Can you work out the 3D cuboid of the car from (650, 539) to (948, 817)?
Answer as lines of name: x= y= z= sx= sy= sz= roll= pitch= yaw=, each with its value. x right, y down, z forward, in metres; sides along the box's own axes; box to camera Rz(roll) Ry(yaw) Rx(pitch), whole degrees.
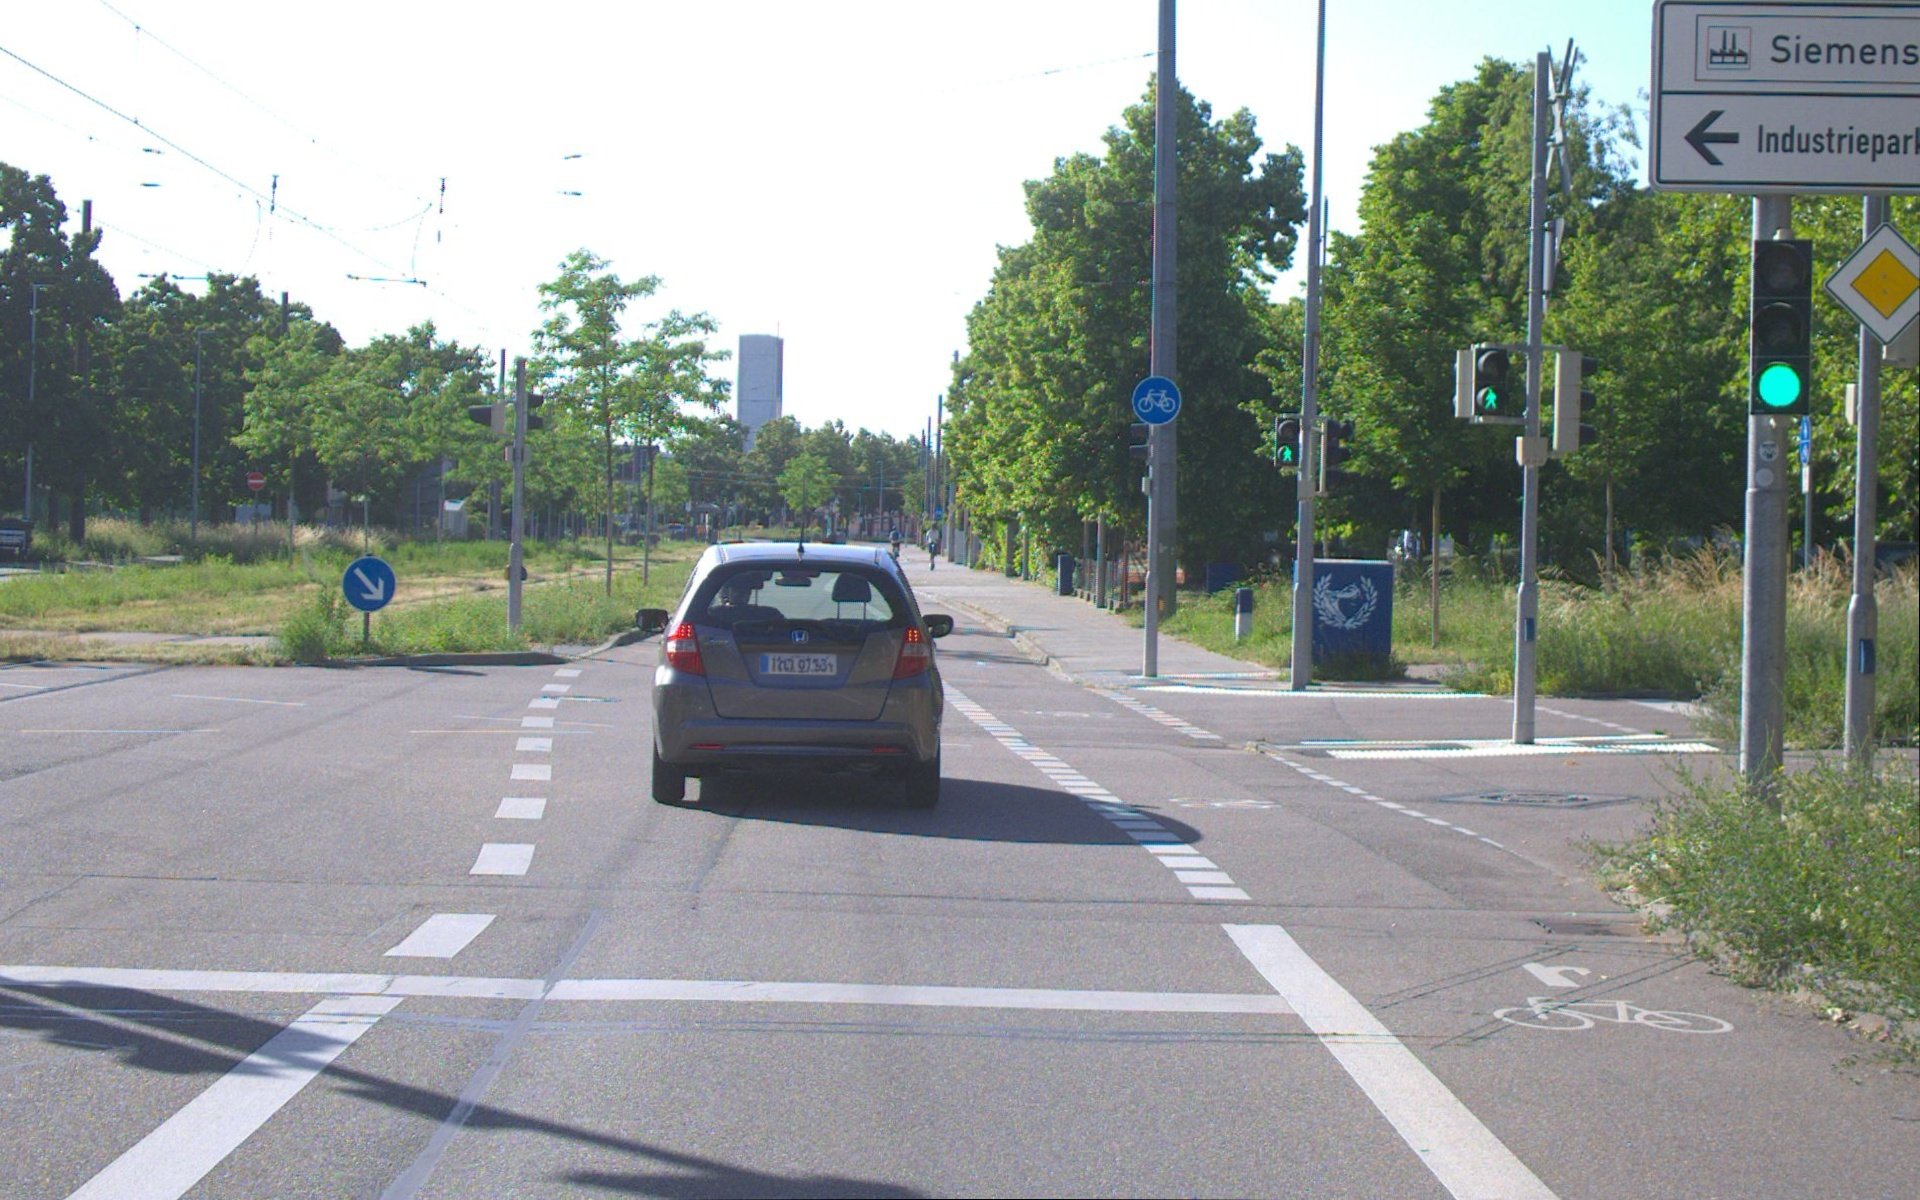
car: x=-0.931 y=0.406 z=20.916 sx=1.624 sy=1.494 sz=3.457 roll=1 pitch=1 yaw=-1

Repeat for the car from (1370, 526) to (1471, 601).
car: x=12.802 y=-1.045 z=95.860 sx=1.872 sy=1.960 sz=5.168 roll=2 pitch=1 yaw=-2

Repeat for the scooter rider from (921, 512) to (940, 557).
scooter rider: x=-1.257 y=-2.823 z=147.548 sx=0.716 sy=1.894 sz=0.935 roll=1 pitch=1 yaw=-4

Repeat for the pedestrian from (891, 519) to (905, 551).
pedestrian: x=-3.470 y=-3.652 z=193.517 sx=0.722 sy=1.794 sz=1.165 roll=1 pitch=1 yaw=-3

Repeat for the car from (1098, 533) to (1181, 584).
car: x=4.978 y=-1.171 z=95.936 sx=1.773 sy=1.382 sz=3.871 roll=1 pitch=1 yaw=-5

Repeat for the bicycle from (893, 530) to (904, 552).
bicycle: x=-3.476 y=-3.335 z=193.514 sx=0.512 sy=1.237 sz=3.090 roll=1 pitch=1 yaw=-3
